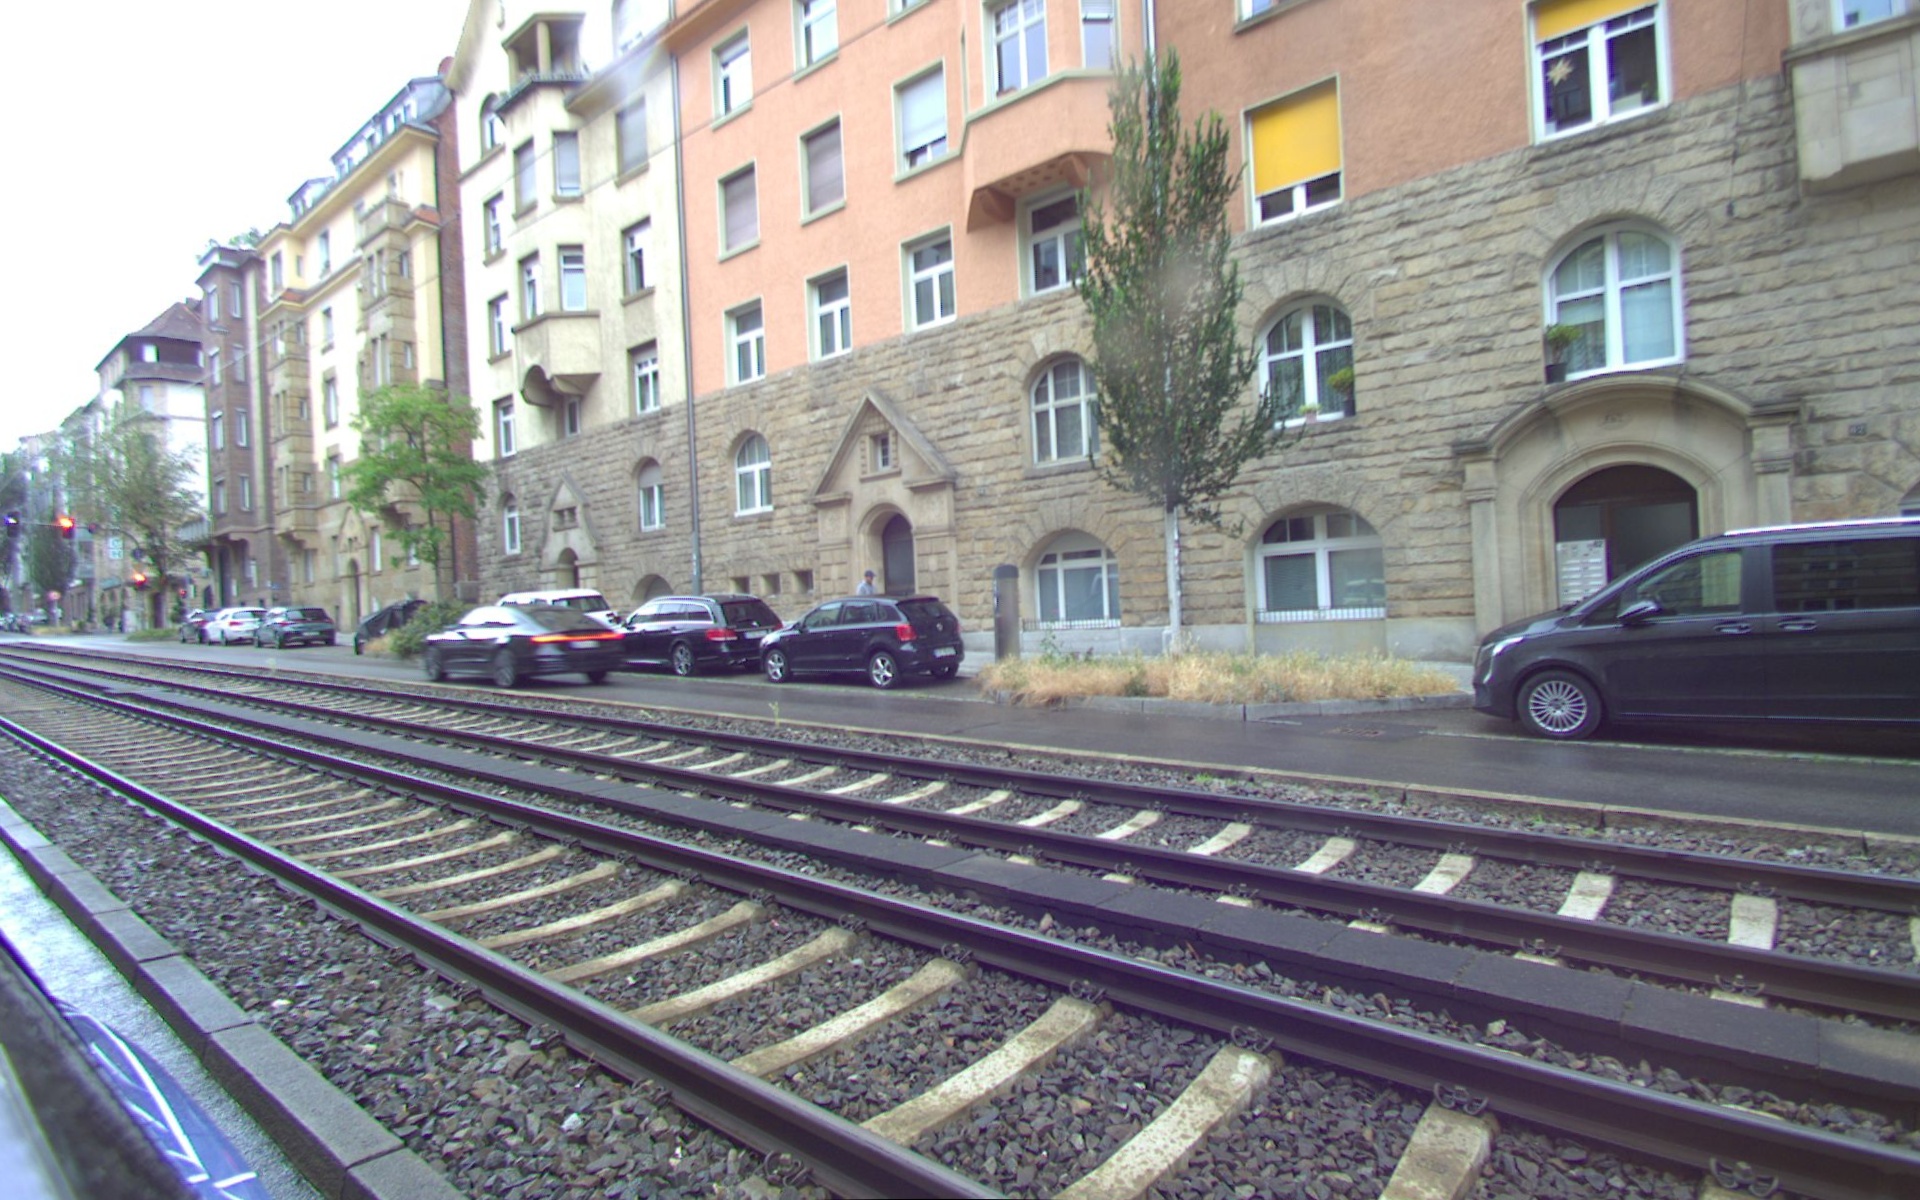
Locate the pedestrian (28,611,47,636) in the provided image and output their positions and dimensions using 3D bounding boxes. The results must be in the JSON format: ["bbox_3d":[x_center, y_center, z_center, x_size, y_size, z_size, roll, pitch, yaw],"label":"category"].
[{"bbox_3d":[-77.237,1.971,84.757,1.163,1.972,1.042,-1,0,43],"label":"pedestrian"}]

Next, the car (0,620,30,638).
[{"bbox_3d":[-74.287,2.287,79.351,3.843,1.321,1.563,-1,0,41],"label":"car"}]

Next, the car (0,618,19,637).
[{"bbox_3d":[-80.913,2.295,85.425,3.843,1.527,1.748,-1,0,41],"label":"car"}]

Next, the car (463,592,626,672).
[{"bbox_3d":[-9.746,0.706,23.618,4.144,1.668,1.843,-1,0,41],"label":"car"}]

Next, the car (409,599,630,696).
[{"bbox_3d":[-8.223,0.809,18.665,4.962,1.535,1.784,-1,0,41],"label":"car"}]

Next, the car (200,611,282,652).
[{"bbox_3d":[-28.285,1.216,39.771,4.030,1.452,1.748,-1,1,42],"label":"car"}]

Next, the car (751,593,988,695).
[{"bbox_3d":[-1.558,0.673,16.923,3.638,1.508,1.912,-1,0,38],"label":"car"}]

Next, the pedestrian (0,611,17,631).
[{"bbox_3d":[-97.472,2.131,103.467,1.379,1.972,1.362,-1,0,43],"label":"pedestrian"}]

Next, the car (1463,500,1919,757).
[{"bbox_3d":[7.344,0.219,8.988,4.823,1.956,1.973,-1,0,41],"label":"car"}]

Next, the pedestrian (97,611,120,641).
[{"bbox_3d":[-57.585,1.745,68.441,1.163,1.972,1.042,-1,0,43],"label":"pedestrian"}]

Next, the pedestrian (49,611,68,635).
[{"bbox_3d":[-76.292,1.958,85.643,1.163,1.972,1.042,-1,0,43],"label":"pedestrian"}]

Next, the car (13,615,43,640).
[{"bbox_3d":[-69.038,1.998,74.986,1.561,1.691,3.794,-2,2,-43],"label":"car"}]

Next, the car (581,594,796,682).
[{"bbox_3d":[-5.439,0.701,19.945,4.599,1.506,1.824,-1,0,41],"label":"car"}]

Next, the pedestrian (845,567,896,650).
[{"bbox_3d":[-1.812,0.169,20.481,0.765,1.654,0.692,-1,0,41],"label":"pedestrian"}]

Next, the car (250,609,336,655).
[{"bbox_3d":[-23.684,1.101,35.868,3.845,1.452,1.656,-1,1,43],"label":"car"}]

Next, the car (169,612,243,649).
[{"bbox_3d":[-32.143,1.271,43.095,3.843,1.452,1.748,-1,0,41],"label":"car"}]
